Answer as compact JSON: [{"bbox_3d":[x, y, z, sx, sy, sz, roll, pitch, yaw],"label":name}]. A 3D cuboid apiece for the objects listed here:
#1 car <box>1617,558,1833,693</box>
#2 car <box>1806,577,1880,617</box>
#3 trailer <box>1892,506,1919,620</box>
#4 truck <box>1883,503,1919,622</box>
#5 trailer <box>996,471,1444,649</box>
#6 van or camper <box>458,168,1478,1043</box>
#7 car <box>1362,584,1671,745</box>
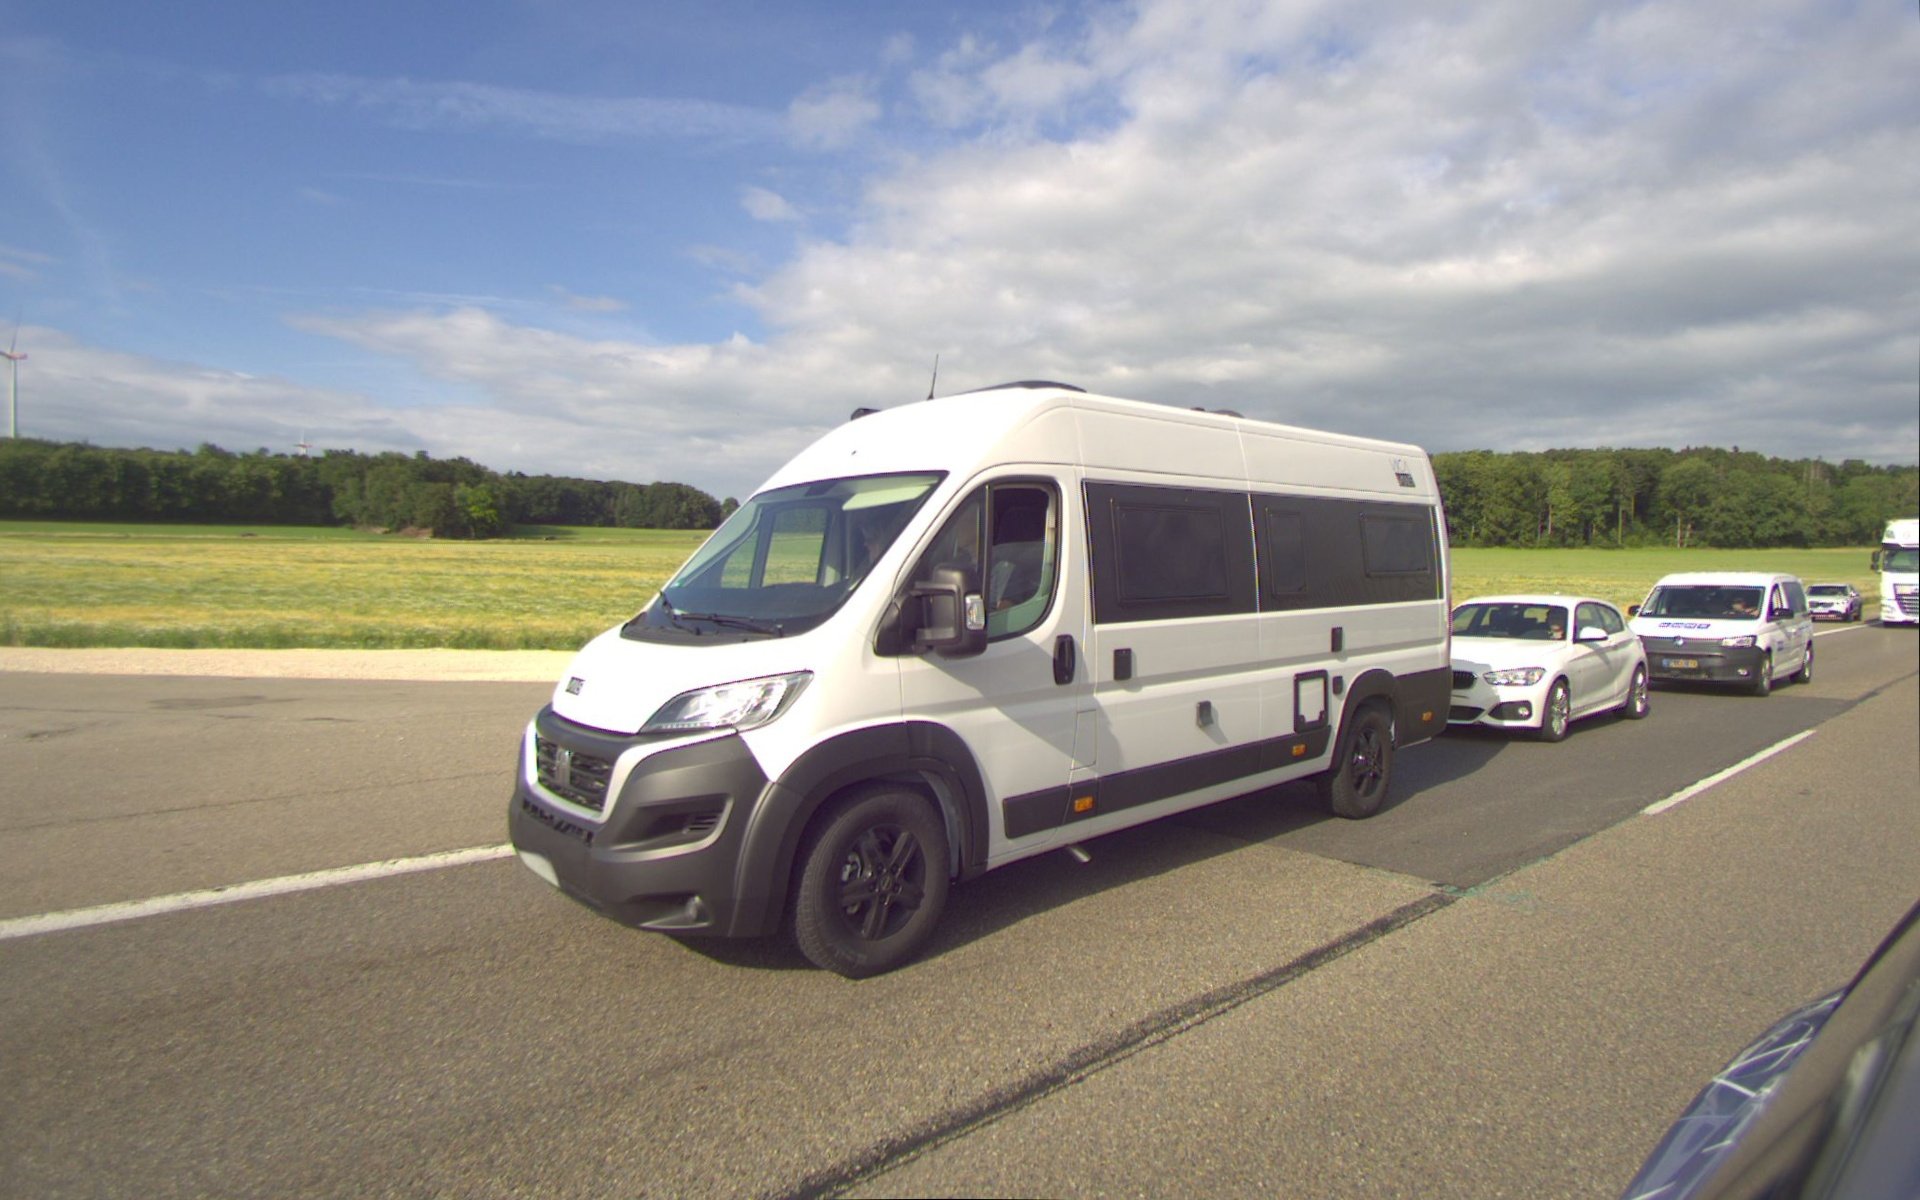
[{"bbox_3d":[11.849,0.311,15.555,4.621,1.779,1.727,-1,0,-41],"label":"car"},{"bbox_3d":[37.787,-0.178,43.260,4.595,1.612,1.807,-1,2,-42],"label":"car"},{"bbox_3d":[40.864,-1.526,41.388,13.779,4.212,2.739,-2,1,-42],"label":"trailer"},{"bbox_3d":[36.277,-1.386,37.294,5.668,4.226,2.733,-2,1,-41],"label":"truck"},{"bbox_3d":[7.617,-0.988,28.105,13.544,4.213,2.748,0,0,-26],"label":"trailer"},{"bbox_3d":[0.658,-0.034,6.045,6.223,2.714,2.219,-1,1,-41],"label":"van or camper"},{"bbox_3d":[6.279,0.558,11.209,4.159,1.450,1.706,-1,1,-41],"label":"car"}]
